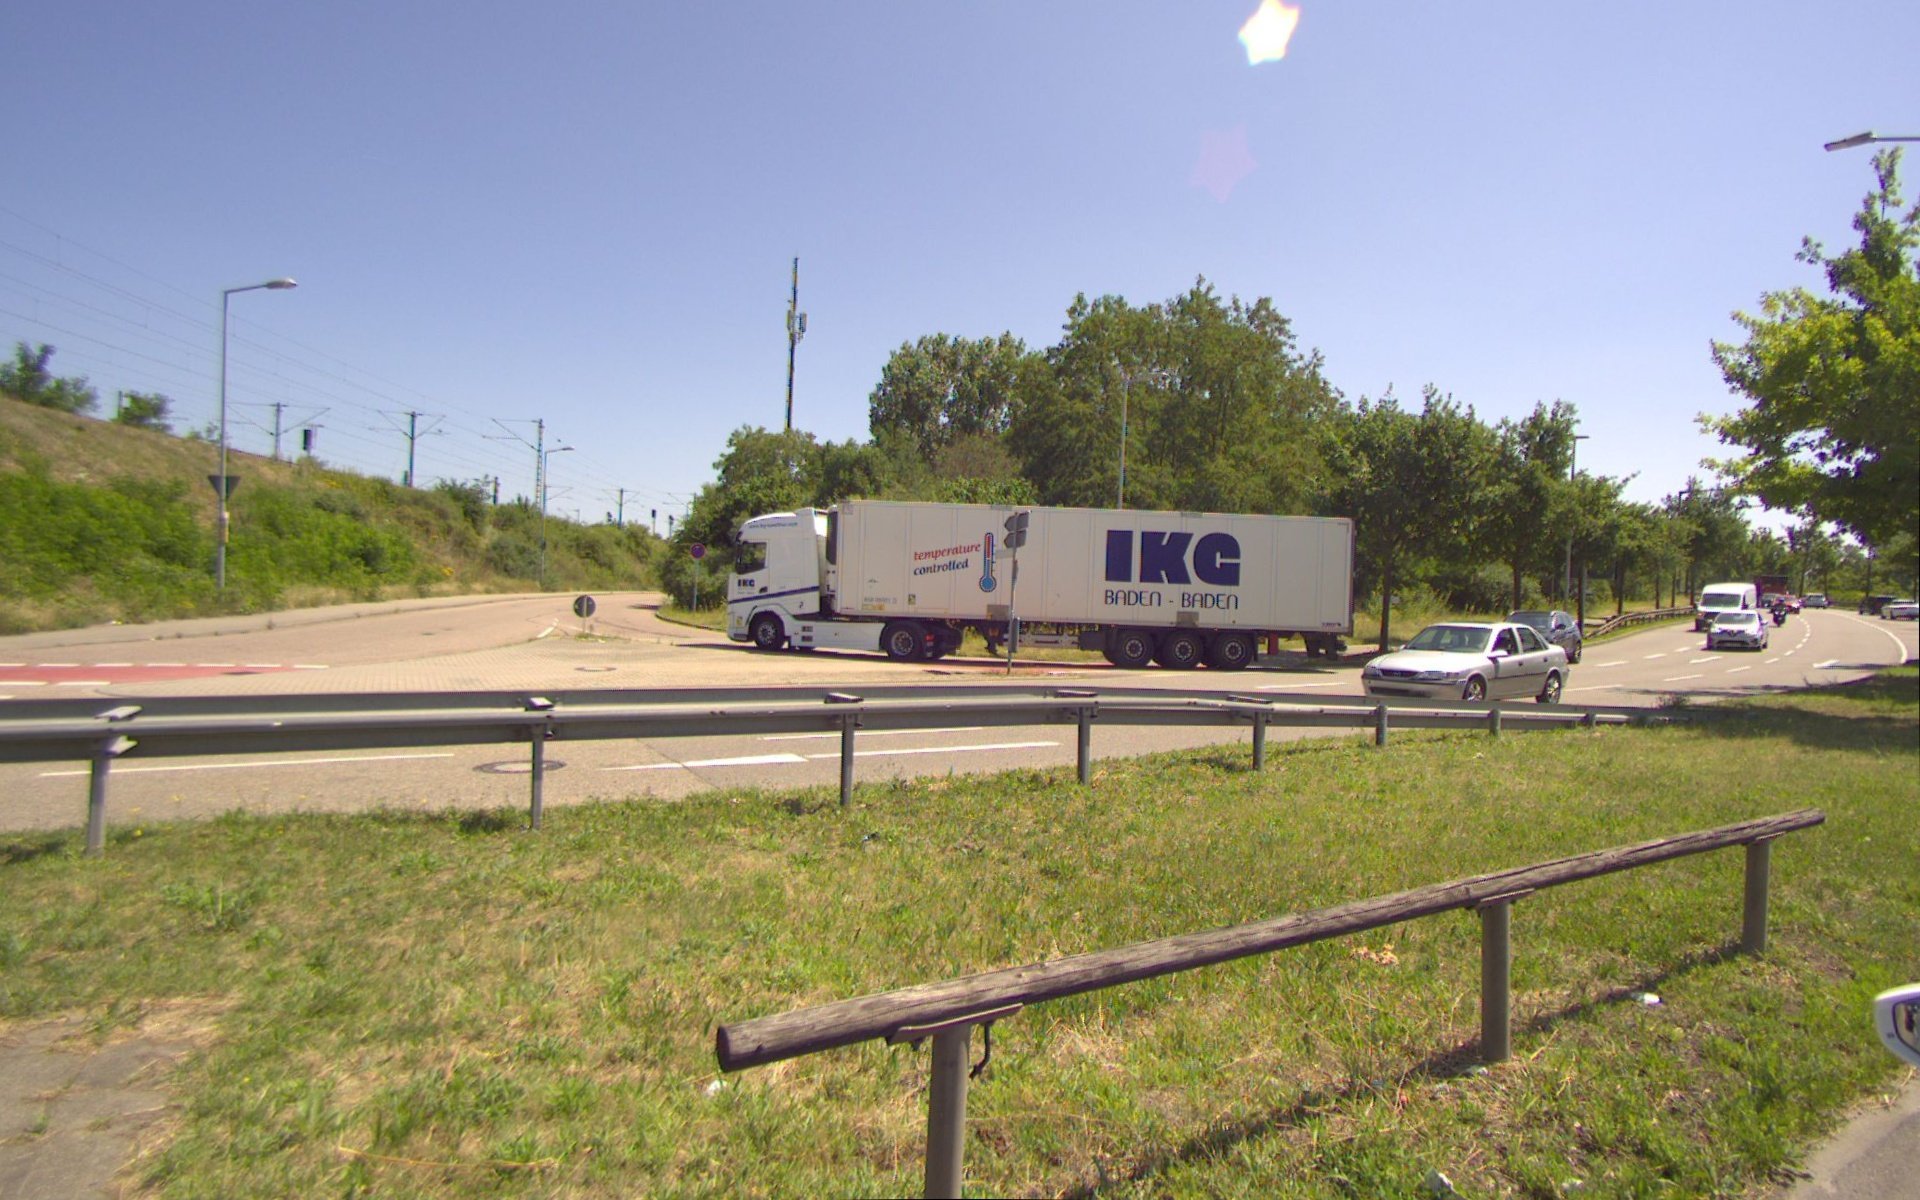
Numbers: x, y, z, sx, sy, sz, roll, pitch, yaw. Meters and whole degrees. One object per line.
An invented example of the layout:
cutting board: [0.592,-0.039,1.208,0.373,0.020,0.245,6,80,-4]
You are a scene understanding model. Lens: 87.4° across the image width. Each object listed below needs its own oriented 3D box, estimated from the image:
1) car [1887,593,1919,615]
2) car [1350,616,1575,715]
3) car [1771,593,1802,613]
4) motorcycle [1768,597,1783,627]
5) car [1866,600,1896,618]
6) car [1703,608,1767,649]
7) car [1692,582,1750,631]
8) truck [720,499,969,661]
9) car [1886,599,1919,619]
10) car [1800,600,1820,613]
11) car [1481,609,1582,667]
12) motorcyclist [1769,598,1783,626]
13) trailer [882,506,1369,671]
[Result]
car: [66.844,0.306,70.909,1.644,1.484,3.567,2,0,37]
car: [8.352,1.022,16.563,4.182,1.421,1.622,2,-1,-37]
car: [67.069,0.266,81.484,1.810,1.456,4.502,-1,-2,41]
motorcycle: [48.931,0.726,60.241,0.591,1.700,2.413,2,0,41]
car: [73.469,0.735,80.192,1.399,1.331,3.325,2,0,37]
car: [31.173,1.152,40.375,1.617,1.588,4.048,0,-2,44]
car: [41.418,0.336,54.616,2.071,2.534,5.778,0,0,42]
truck: [-3.135,-0.581,27.411,6.145,4.075,2.552,2,0,19]
car: [66.721,0.634,70.997,1.438,1.331,3.624,2,0,37]
car: [83.812,0.661,99.045,1.304,1.154,2.985,2,0,36]
car: [17.978,1.181,31.536,4.442,1.654,1.474,2,0,-43]
motorcyclist: [48.974,0.736,60.283,0.580,1.648,0.560,2,0,42]
trailer: [4.226,-0.288,27.169,12.455,4.104,3.021,0,1,-1]
